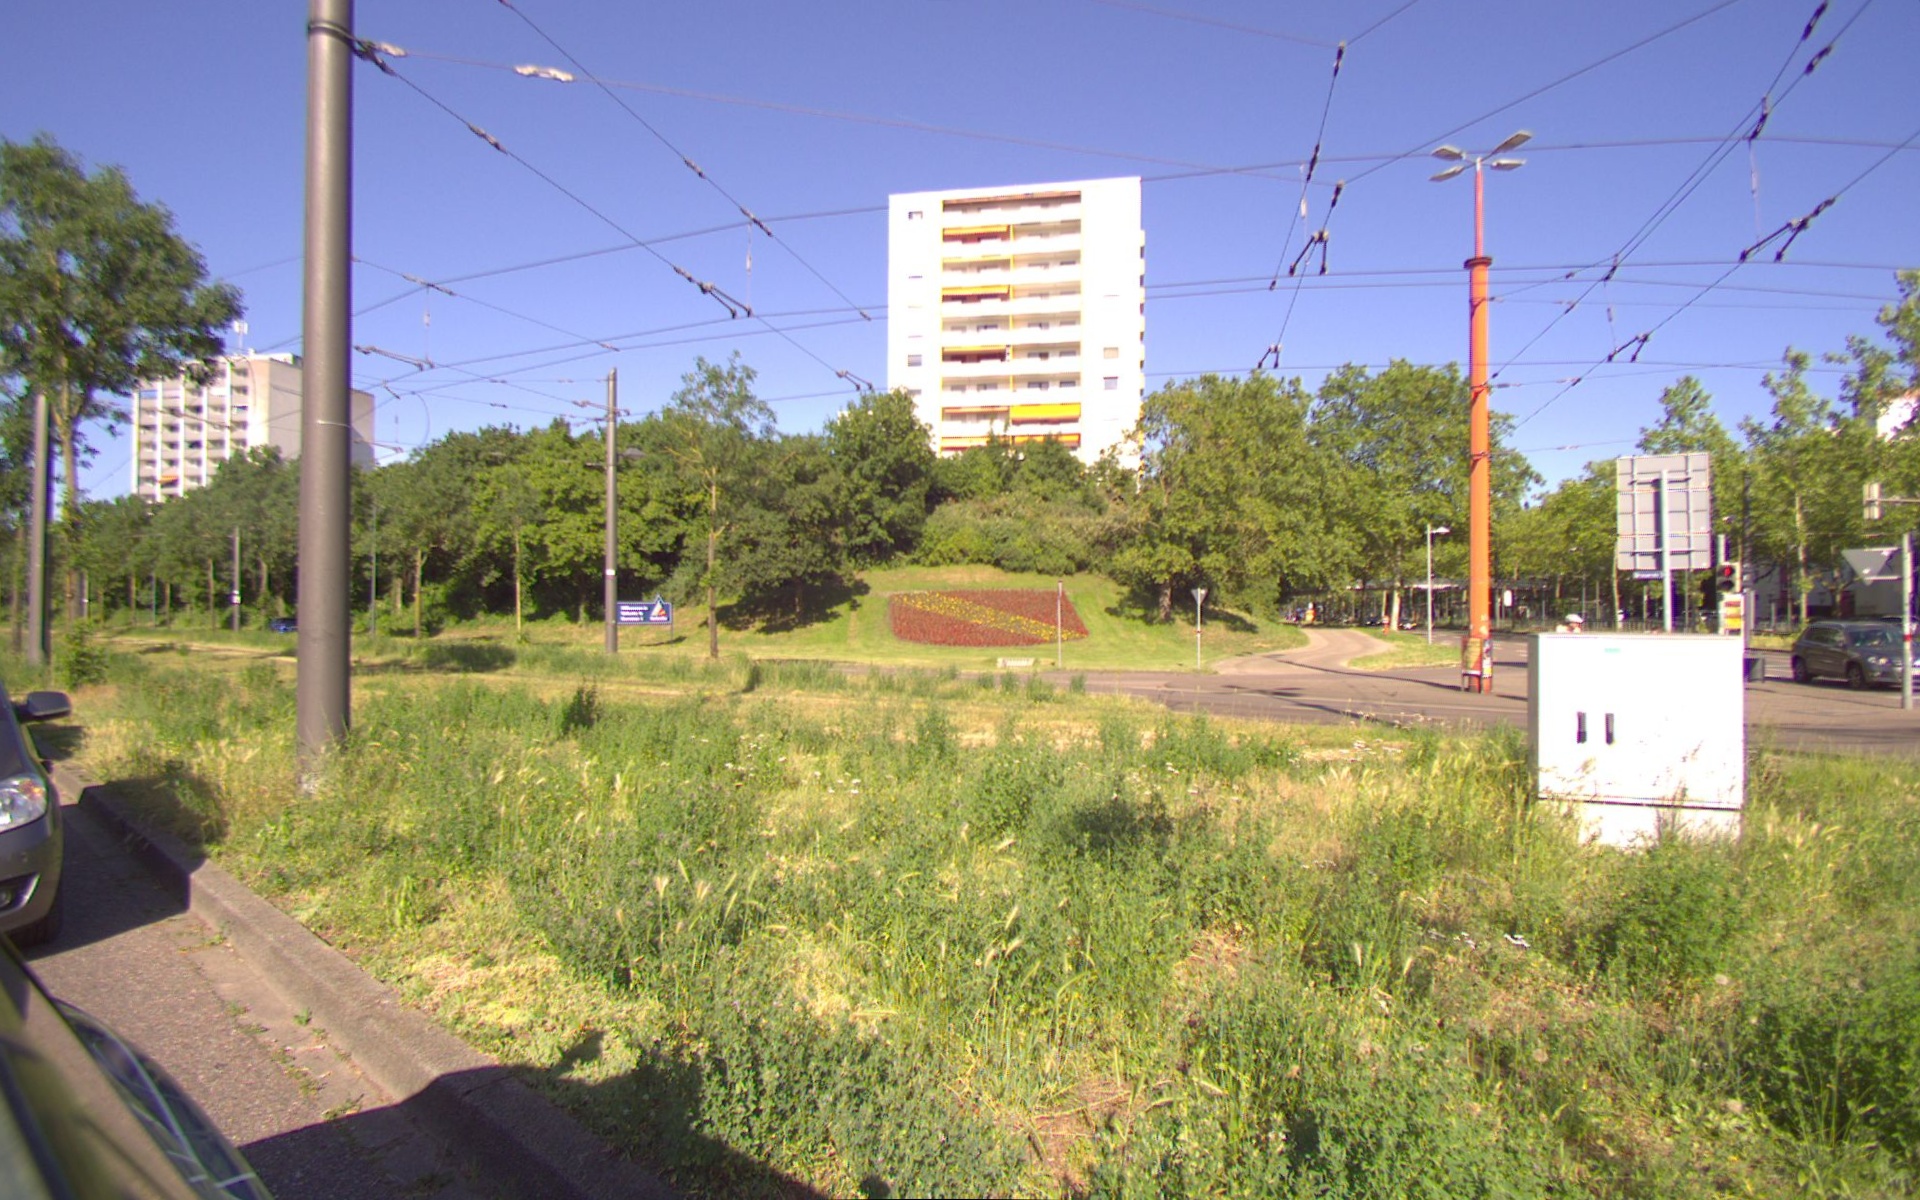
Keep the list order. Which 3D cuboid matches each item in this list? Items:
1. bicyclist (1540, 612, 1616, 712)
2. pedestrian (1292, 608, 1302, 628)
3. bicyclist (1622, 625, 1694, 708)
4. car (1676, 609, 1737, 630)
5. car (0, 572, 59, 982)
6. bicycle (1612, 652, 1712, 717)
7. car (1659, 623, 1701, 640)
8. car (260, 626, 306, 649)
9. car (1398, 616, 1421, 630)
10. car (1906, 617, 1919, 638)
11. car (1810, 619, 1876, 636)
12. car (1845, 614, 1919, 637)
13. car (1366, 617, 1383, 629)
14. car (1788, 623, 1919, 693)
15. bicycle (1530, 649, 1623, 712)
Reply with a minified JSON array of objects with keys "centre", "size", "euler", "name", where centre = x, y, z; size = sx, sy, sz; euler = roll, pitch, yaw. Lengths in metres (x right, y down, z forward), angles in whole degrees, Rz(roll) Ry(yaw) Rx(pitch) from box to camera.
[{"centre":[12.113,1.191,19.867],"size":[0.880,1.881,0.924],"euler":[-1,0,-2],"name":"bicyclist"},{"centre":[27.235,1.478,81.782],"size":[0.682,1.568,0.983],"euler":[-1,-2,23],"name":"pedestrian"},{"centre":[13.490,1.265,19.582],"size":[0.710,1.536,0.924],"euler":[-1,0,0],"name":"bicyclist"},{"centre":[72.139,1.932,97.869],"size":[1.909,1.999,4.350],"euler":[1,-2,-38],"name":"car"},{"centre":[-5.826,0.754,4.884],"size":[3.998,1.652,1.726],"euler":[-1,0,41],"name":"car"},{"centre":[13.502,1.595,19.532],"size":[0.571,1.079,1.916],"euler":[-1,0,0],"name":"bicycle"},{"centre":[66.207,2.884,93.130],"size":[1.822,1.514,3.930],"euler":[0,-2,15],"name":"car"},{"centre":[-44.119,2.440,65.958],"size":[3.908,1.431,1.557],"euler":[-2,-1,42],"name":"car"},{"centre":[48.243,2.467,108.775],"size":[1.903,1.507,3.974],"euler":[-1,-1,19],"name":"car"},{"centre":[63.683,1.771,65.159],"size":[1.472,1.341,3.746],"euler":[-1,0,-27],"name":"car"},{"centre":[64.402,1.982,73.842],"size":[1.425,1.197,3.423],"euler":[-1,0,-41],"name":"car"},{"centre":[63.798,1.737,69.991],"size":[1.589,1.471,3.656],"euler":[-1,0,-38],"name":"car"},{"centre":[55.904,3.061,136.600],"size":[1.904,1.507,3.973],"euler":[-1,0,20],"name":"car"},{"centre":[23.014,1.391,25.413],"size":[1.900,1.507,4.026],"euler":[-1,0,15],"name":"car"},{"centre":[12.067,1.547,19.884],"size":[0.571,1.079,1.917],"euler":[-1,0,-3],"name":"bicycle"}]
